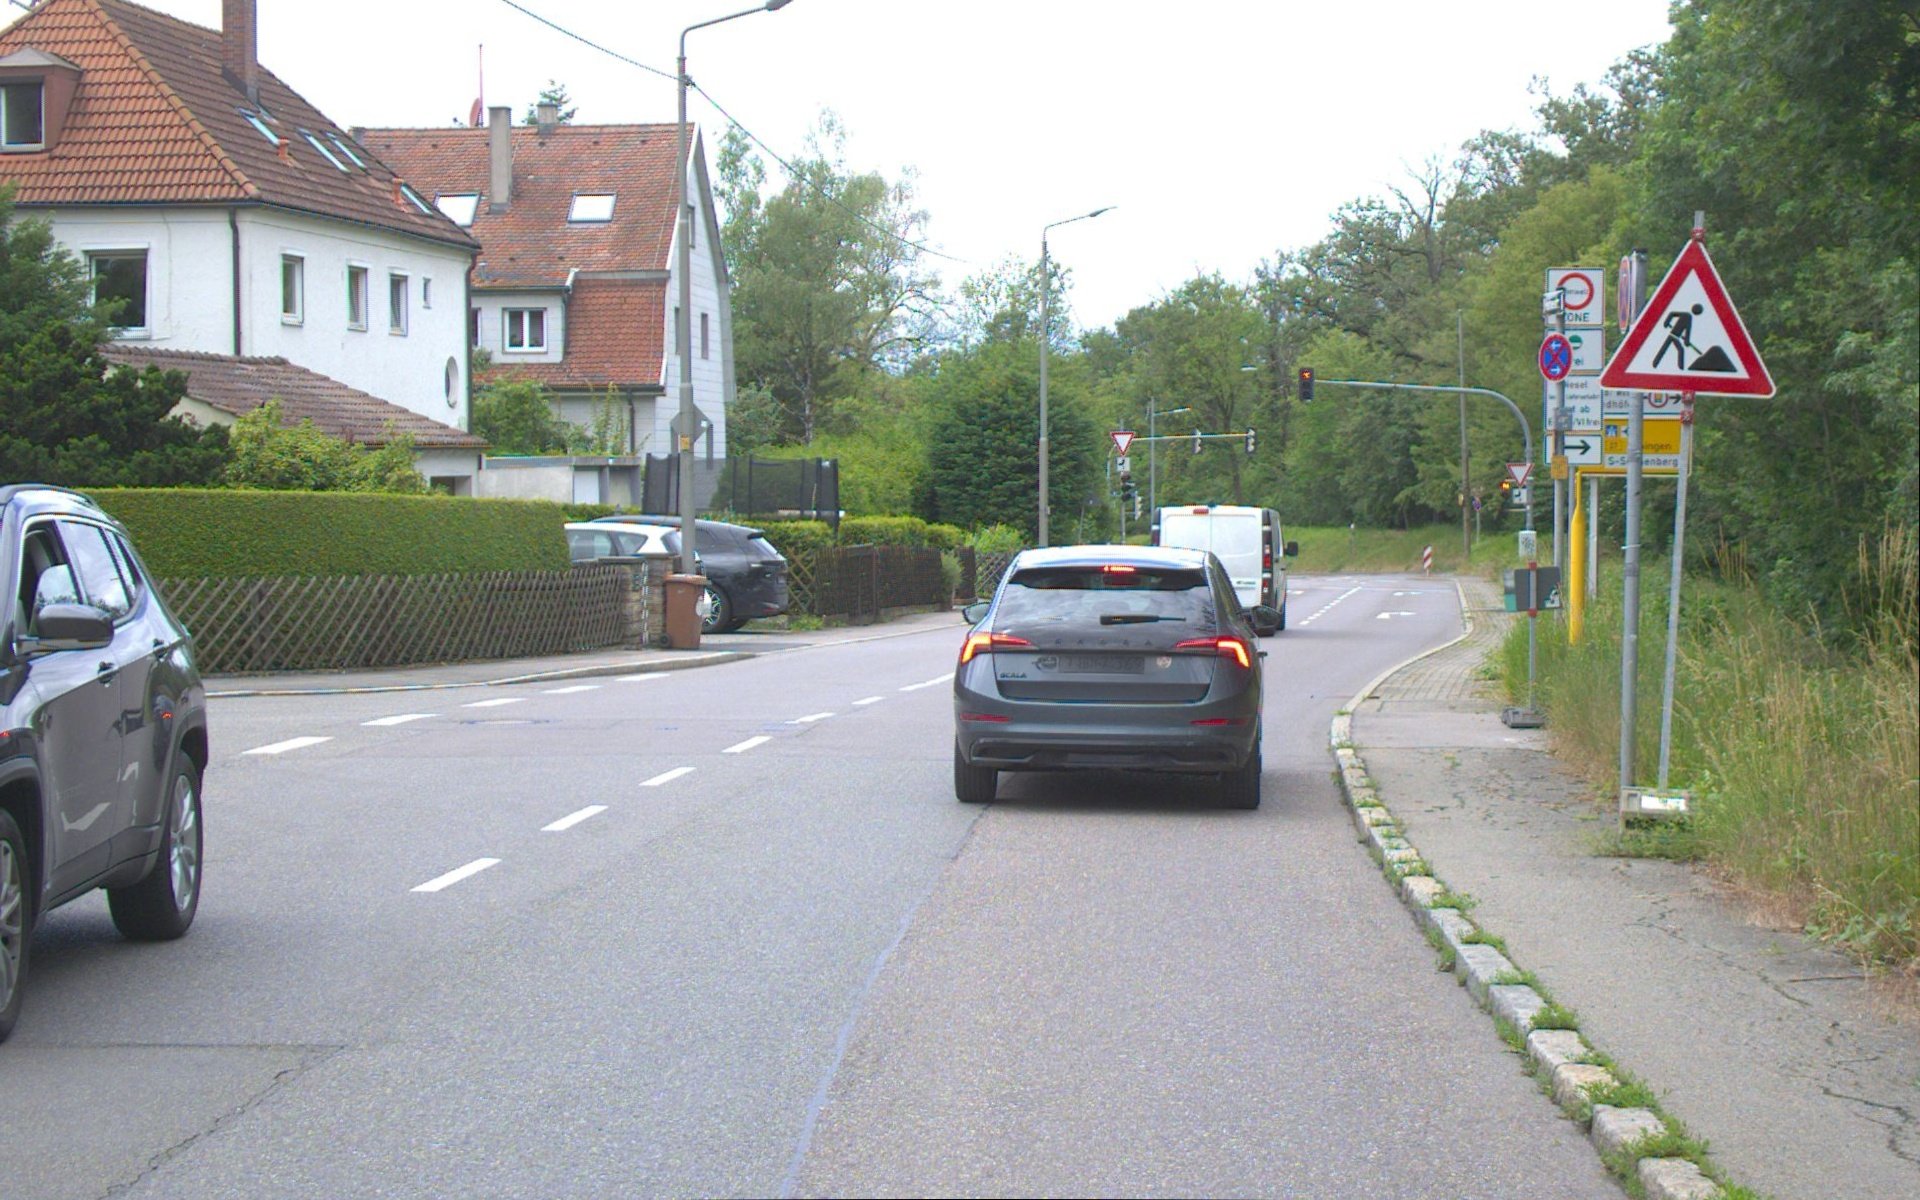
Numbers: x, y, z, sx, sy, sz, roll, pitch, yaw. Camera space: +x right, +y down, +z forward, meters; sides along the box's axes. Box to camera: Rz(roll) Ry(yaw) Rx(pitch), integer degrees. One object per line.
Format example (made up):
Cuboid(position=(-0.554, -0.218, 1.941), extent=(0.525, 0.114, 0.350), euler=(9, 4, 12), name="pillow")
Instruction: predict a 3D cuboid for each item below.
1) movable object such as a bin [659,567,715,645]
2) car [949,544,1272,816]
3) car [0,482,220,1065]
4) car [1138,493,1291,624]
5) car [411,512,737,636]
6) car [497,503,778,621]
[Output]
Cuboid(position=(-3.368, 0.068, 42.440), extent=(0.599, 0.947, 0.579), euler=(0, 1, 4), name="movable object such as a bin")
Cuboid(position=(0.968, 0.394, 20.684), extent=(1.728, 1.434, 4.323), euler=(1, 1, 4), name="car")
Cuboid(position=(-3.637, 0.413, 11.037), extent=(1.833, 1.591, 4.324), euler=(0, 2, -4), name="car")
Cuboid(position=(3.879, -0.653, 53.087), extent=(2.071, 1.915, 4.922), euler=(1, 1, 1), name="car")
Cuboid(position=(-5.125, -0.364, 45.979), extent=(3.988, 1.612, 2.000), euler=(0, 1, 6), name="car")
Cuboid(position=(-4.737, -0.576, 50.887), extent=(3.987, 1.700, 1.917), euler=(0, 1, 0), name="car")
